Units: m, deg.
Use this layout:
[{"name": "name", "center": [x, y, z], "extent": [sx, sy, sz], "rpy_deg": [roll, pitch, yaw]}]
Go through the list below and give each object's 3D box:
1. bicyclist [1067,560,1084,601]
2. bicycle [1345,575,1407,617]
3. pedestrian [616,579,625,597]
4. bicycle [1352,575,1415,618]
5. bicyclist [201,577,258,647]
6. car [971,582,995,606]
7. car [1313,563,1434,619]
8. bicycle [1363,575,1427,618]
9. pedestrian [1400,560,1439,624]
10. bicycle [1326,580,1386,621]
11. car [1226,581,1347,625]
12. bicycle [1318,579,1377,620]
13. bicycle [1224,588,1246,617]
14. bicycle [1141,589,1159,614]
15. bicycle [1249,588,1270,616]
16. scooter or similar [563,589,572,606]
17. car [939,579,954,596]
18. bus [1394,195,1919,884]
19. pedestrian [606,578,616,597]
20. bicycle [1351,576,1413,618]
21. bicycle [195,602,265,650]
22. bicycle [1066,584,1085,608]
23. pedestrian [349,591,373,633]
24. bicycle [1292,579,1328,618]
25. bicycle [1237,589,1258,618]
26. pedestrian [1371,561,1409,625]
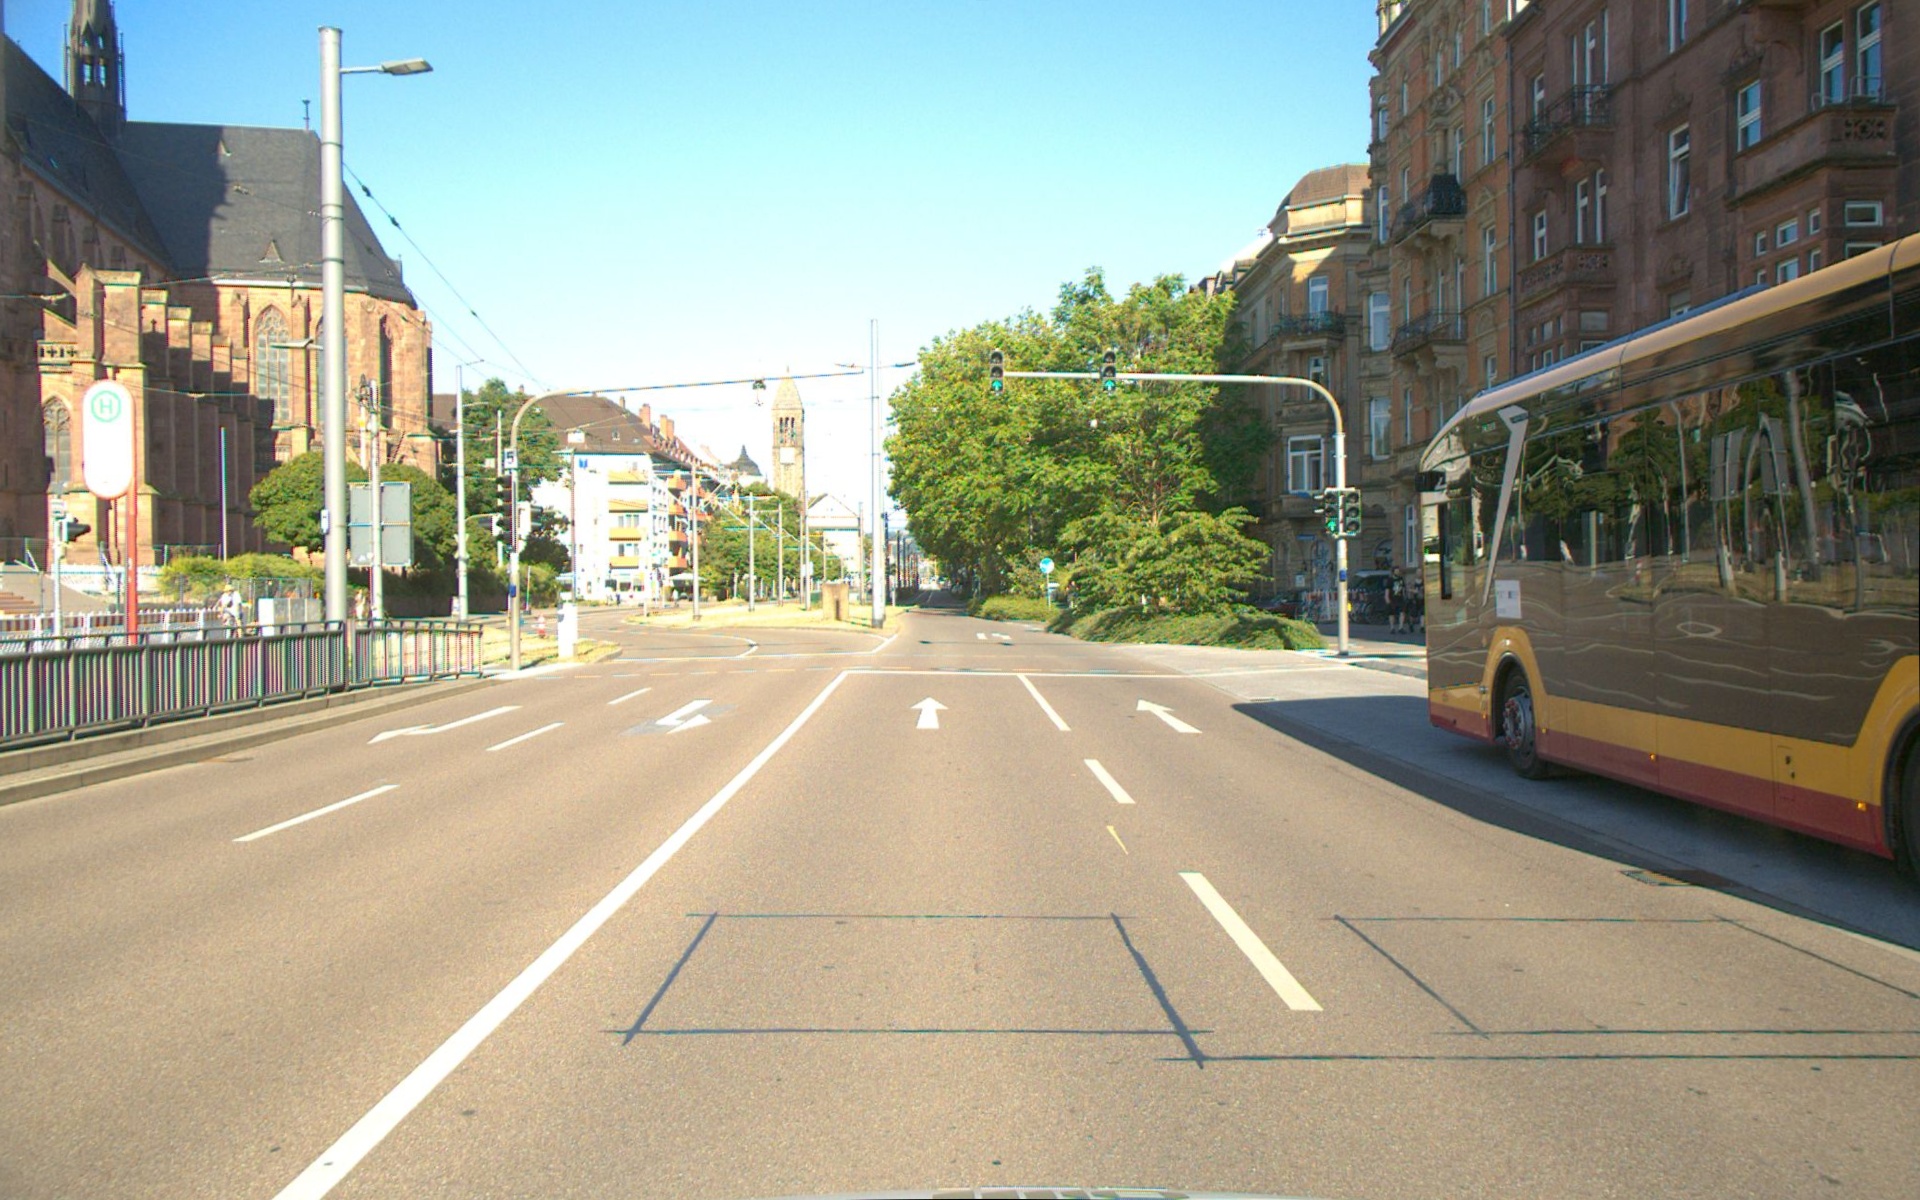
[{"name": "bicyclist", "center": [5.306, -0.893, 76.137], "extent": [0.628, 1.846, 1.052], "rpy_deg": [-2, -1, -2]}, {"name": "bicycle", "center": [13.353, -0.137, 53.078], "extent": [1.851, 1.260, 0.489], "rpy_deg": [-2, -1, -14]}, {"name": "pedestrian", "center": [-29.534, -1.062, 143.972], "extent": [0.577, 1.493, 0.916], "rpy_deg": [-2, 3, -1]}, {"name": "bicycle", "center": [13.290, -0.108, 51.872], "extent": [1.851, 1.260, 0.489], "rpy_deg": [-2, -1, -14]}, {"name": "bicyclist", "center": [-20.659, 0.332, 46.811], "extent": [0.945, 1.839, 1.317], "rpy_deg": [-6, 2, -8]}, {"name": "car", "center": [1.610, -0.443, 116.329], "extent": [1.610, 1.537, 4.182], "rpy_deg": [-2, 1, 0]}, {"name": "car", "center": [16.828, -0.374, 67.414], "extent": [4.485, 2.161, 1.775], "rpy_deg": [0, 3, -3]}, {"name": "bicycle", "center": [13.507, -0.114, 51.338], "extent": [1.851, 1.260, 0.489], "rpy_deg": [-2, -1, -14]}, {"name": "pedestrian", "center": [12.257, -0.224, 44.182], "extent": [0.688, 1.684, 1.136], "rpy_deg": [-1, 0, -1]}, {"name": "bicycle", "center": [12.958, 0.008, 54.094], "extent": [1.851, 1.260, 0.489], "rpy_deg": [-2, -1, -14]}, {"name": "car", "center": [12.188, 0.087, 61.943], "extent": [4.165, 1.440, 1.813], "rpy_deg": [-1, 3, -1]}, {"name": "bicycle", "center": [12.806, -0.022, 54.677], "extent": [1.851, 1.260, 0.489], "rpy_deg": [-2, -1, -14]}, {"name": "bicycle", "center": [11.311, 0.109, 68.051], "extent": [0.507, 1.065, 1.821], "rpy_deg": [-2, 3, -1]}, {"name": "bicycle", "center": [8.394, 0.051, 73.239], "extent": [0.515, 1.005, 1.722], "rpy_deg": [-2, 3, -2]}, {"name": "bicycle", "center": [12.442, 0.072, 68.773], "extent": [0.507, 1.065, 1.821], "rpy_deg": [-2, 3, -1]}, {"name": "scooter or similar", "center": [-31.755, -0.200, 133.887], "extent": [0.393, 1.283, 1.231], "rpy_deg": [-2, 3, 0]}, {"name": "car", "center": [-1.813, -1.722, 225.858], "extent": [1.953, 2.144, 3.999], "rpy_deg": [1, 0, 0]}, {"name": "bus", "center": [5.813, -0.343, 10.365], "extent": [2.660, 3.236, 12.539], "rpy_deg": [-2, 1, -1]}, {"name": "pedestrian", "center": [-30.339, -1.093, 143.951], "extent": [0.630, 1.626, 0.898], "rpy_deg": [-2, 3, -1]}, {"name": "bicycle", "center": [13.394, -0.102, 52.492], "extent": [1.851, 1.260, 0.489], "rpy_deg": [-2, -1, -14]}, {"name": "bicycle", "center": [-20.627, 0.708, 46.803], "extent": [0.945, 1.115, 2.819], "rpy_deg": [-5, 3, -8]}, {"name": "bicycle", "center": [5.322, -0.191, 76.112], "extent": [0.628, 1.066, 2.359], "rpy_deg": [-2, 0, -1]}, {"name": "pedestrian", "center": [-26.599, 0.529, 73.443], "extent": [0.713, 1.804, 0.863], "rpy_deg": [-2, 3, -4]}, {"name": "bicycle", "center": [11.800, -0.052, 55.757], "extent": [0.480, 1.260, 1.885], "rpy_deg": [-2, -1, -10]}, {"name": "bicycle", "center": [11.832, 0.134, 68.070], "extent": [0.507, 1.065, 1.821], "rpy_deg": [-2, 3, -1]}, {"name": "pedestrian", "center": [11.475, -0.196, 44.152], "extent": [0.688, 1.684, 1.136], "rpy_deg": [-1, 0, -1]}]
